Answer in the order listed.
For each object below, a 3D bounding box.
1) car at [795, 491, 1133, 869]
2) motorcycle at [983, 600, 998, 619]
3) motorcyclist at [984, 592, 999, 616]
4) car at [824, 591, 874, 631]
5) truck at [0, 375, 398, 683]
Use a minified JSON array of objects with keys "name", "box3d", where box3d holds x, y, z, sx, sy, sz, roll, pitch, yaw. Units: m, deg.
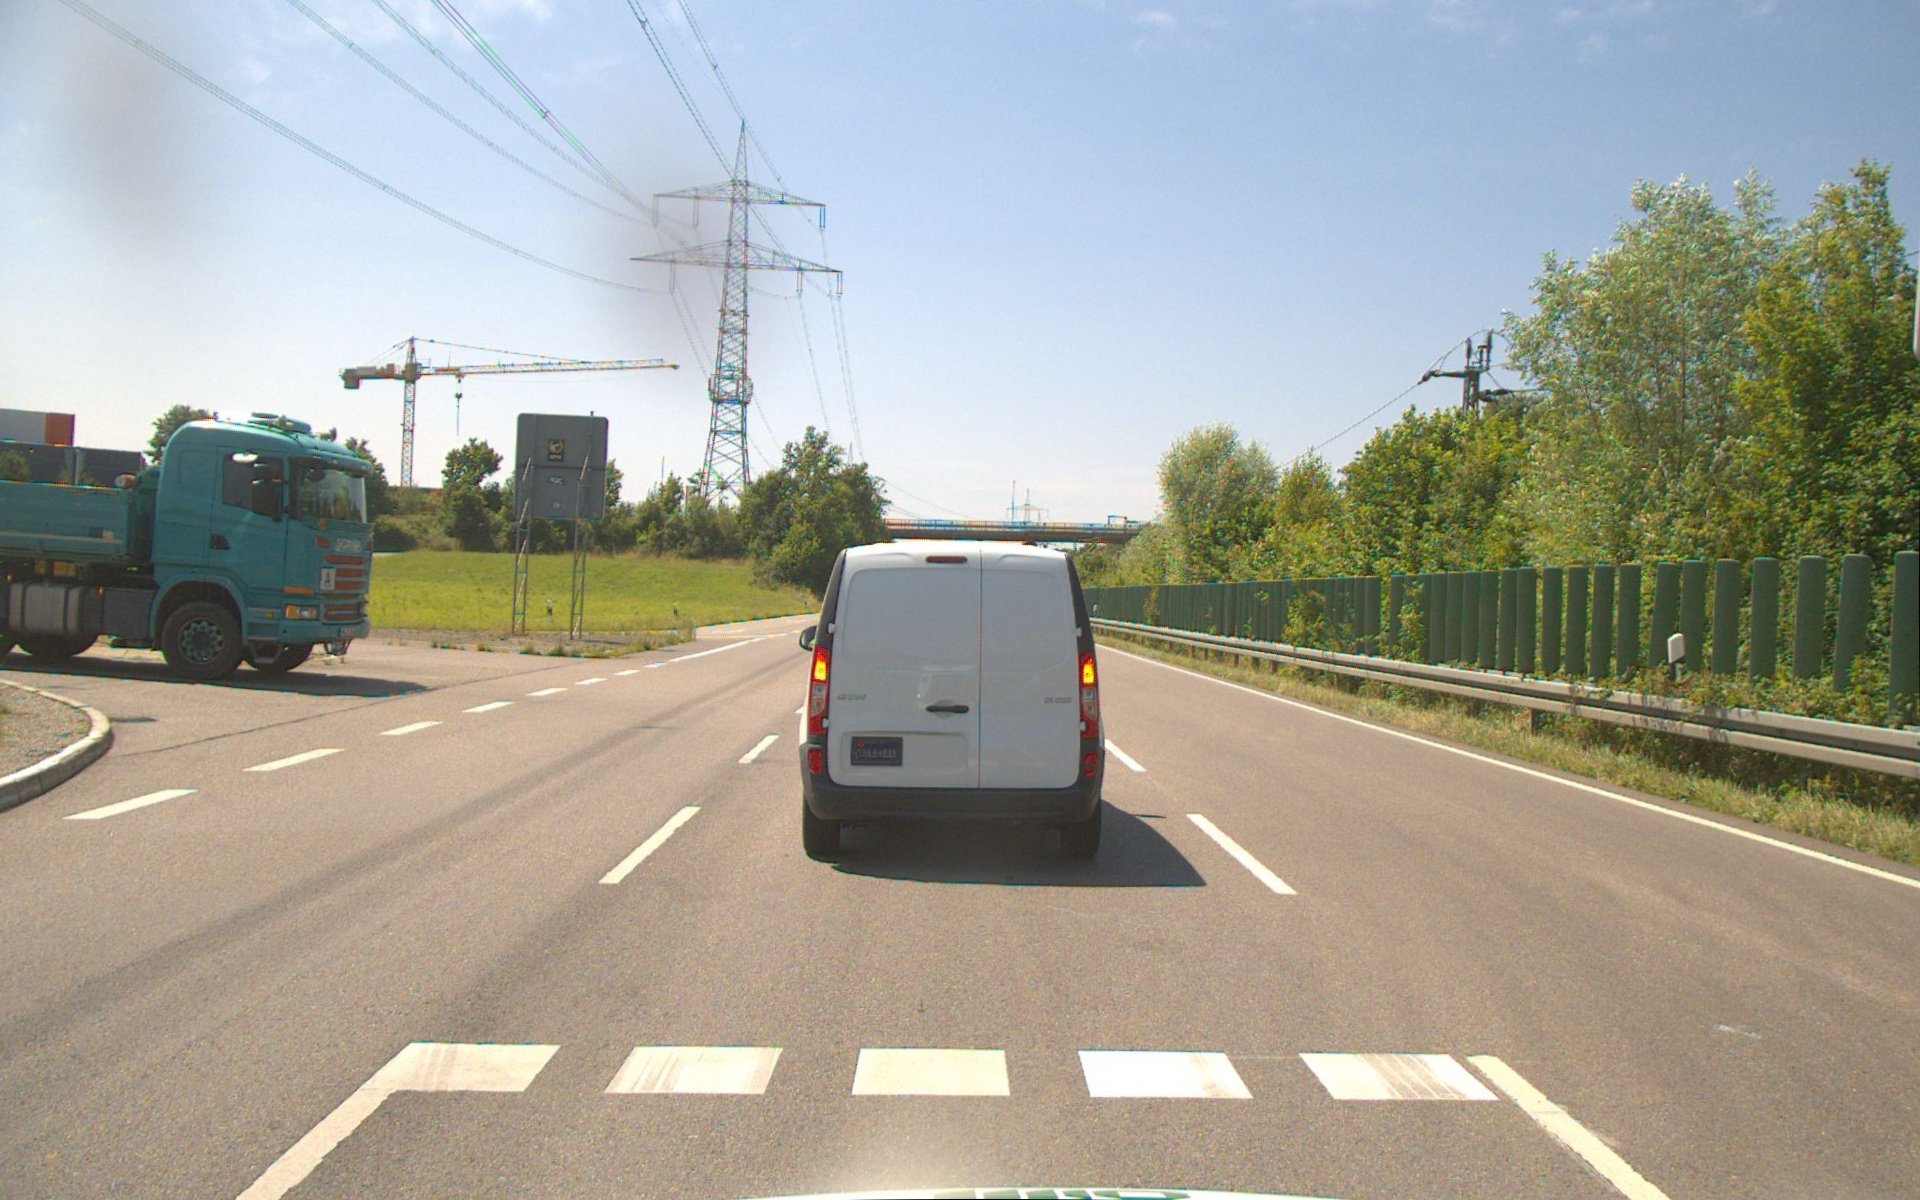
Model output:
[{"name":"car","box3d":[-0.015,0.424,10.886,1.790,2.005,3.999,1,0,-1]},{"name":"motorcycle","box3d":[1.905,0.593,103.860,0.774,1.178,1.901,2,0,-2]},{"name":"motorcyclist","box3d":[1.965,0.227,104.185,0.871,1.502,1.002,1,0,-1]},{"name":"car","box3d":[-4.397,0.437,65.820,1.746,1.489,3.999,2,0,-1]},{"name":"truck","box3d":[-12.285,-1.049,23.165,7.742,3.799,2.498,4,0,1]}]
